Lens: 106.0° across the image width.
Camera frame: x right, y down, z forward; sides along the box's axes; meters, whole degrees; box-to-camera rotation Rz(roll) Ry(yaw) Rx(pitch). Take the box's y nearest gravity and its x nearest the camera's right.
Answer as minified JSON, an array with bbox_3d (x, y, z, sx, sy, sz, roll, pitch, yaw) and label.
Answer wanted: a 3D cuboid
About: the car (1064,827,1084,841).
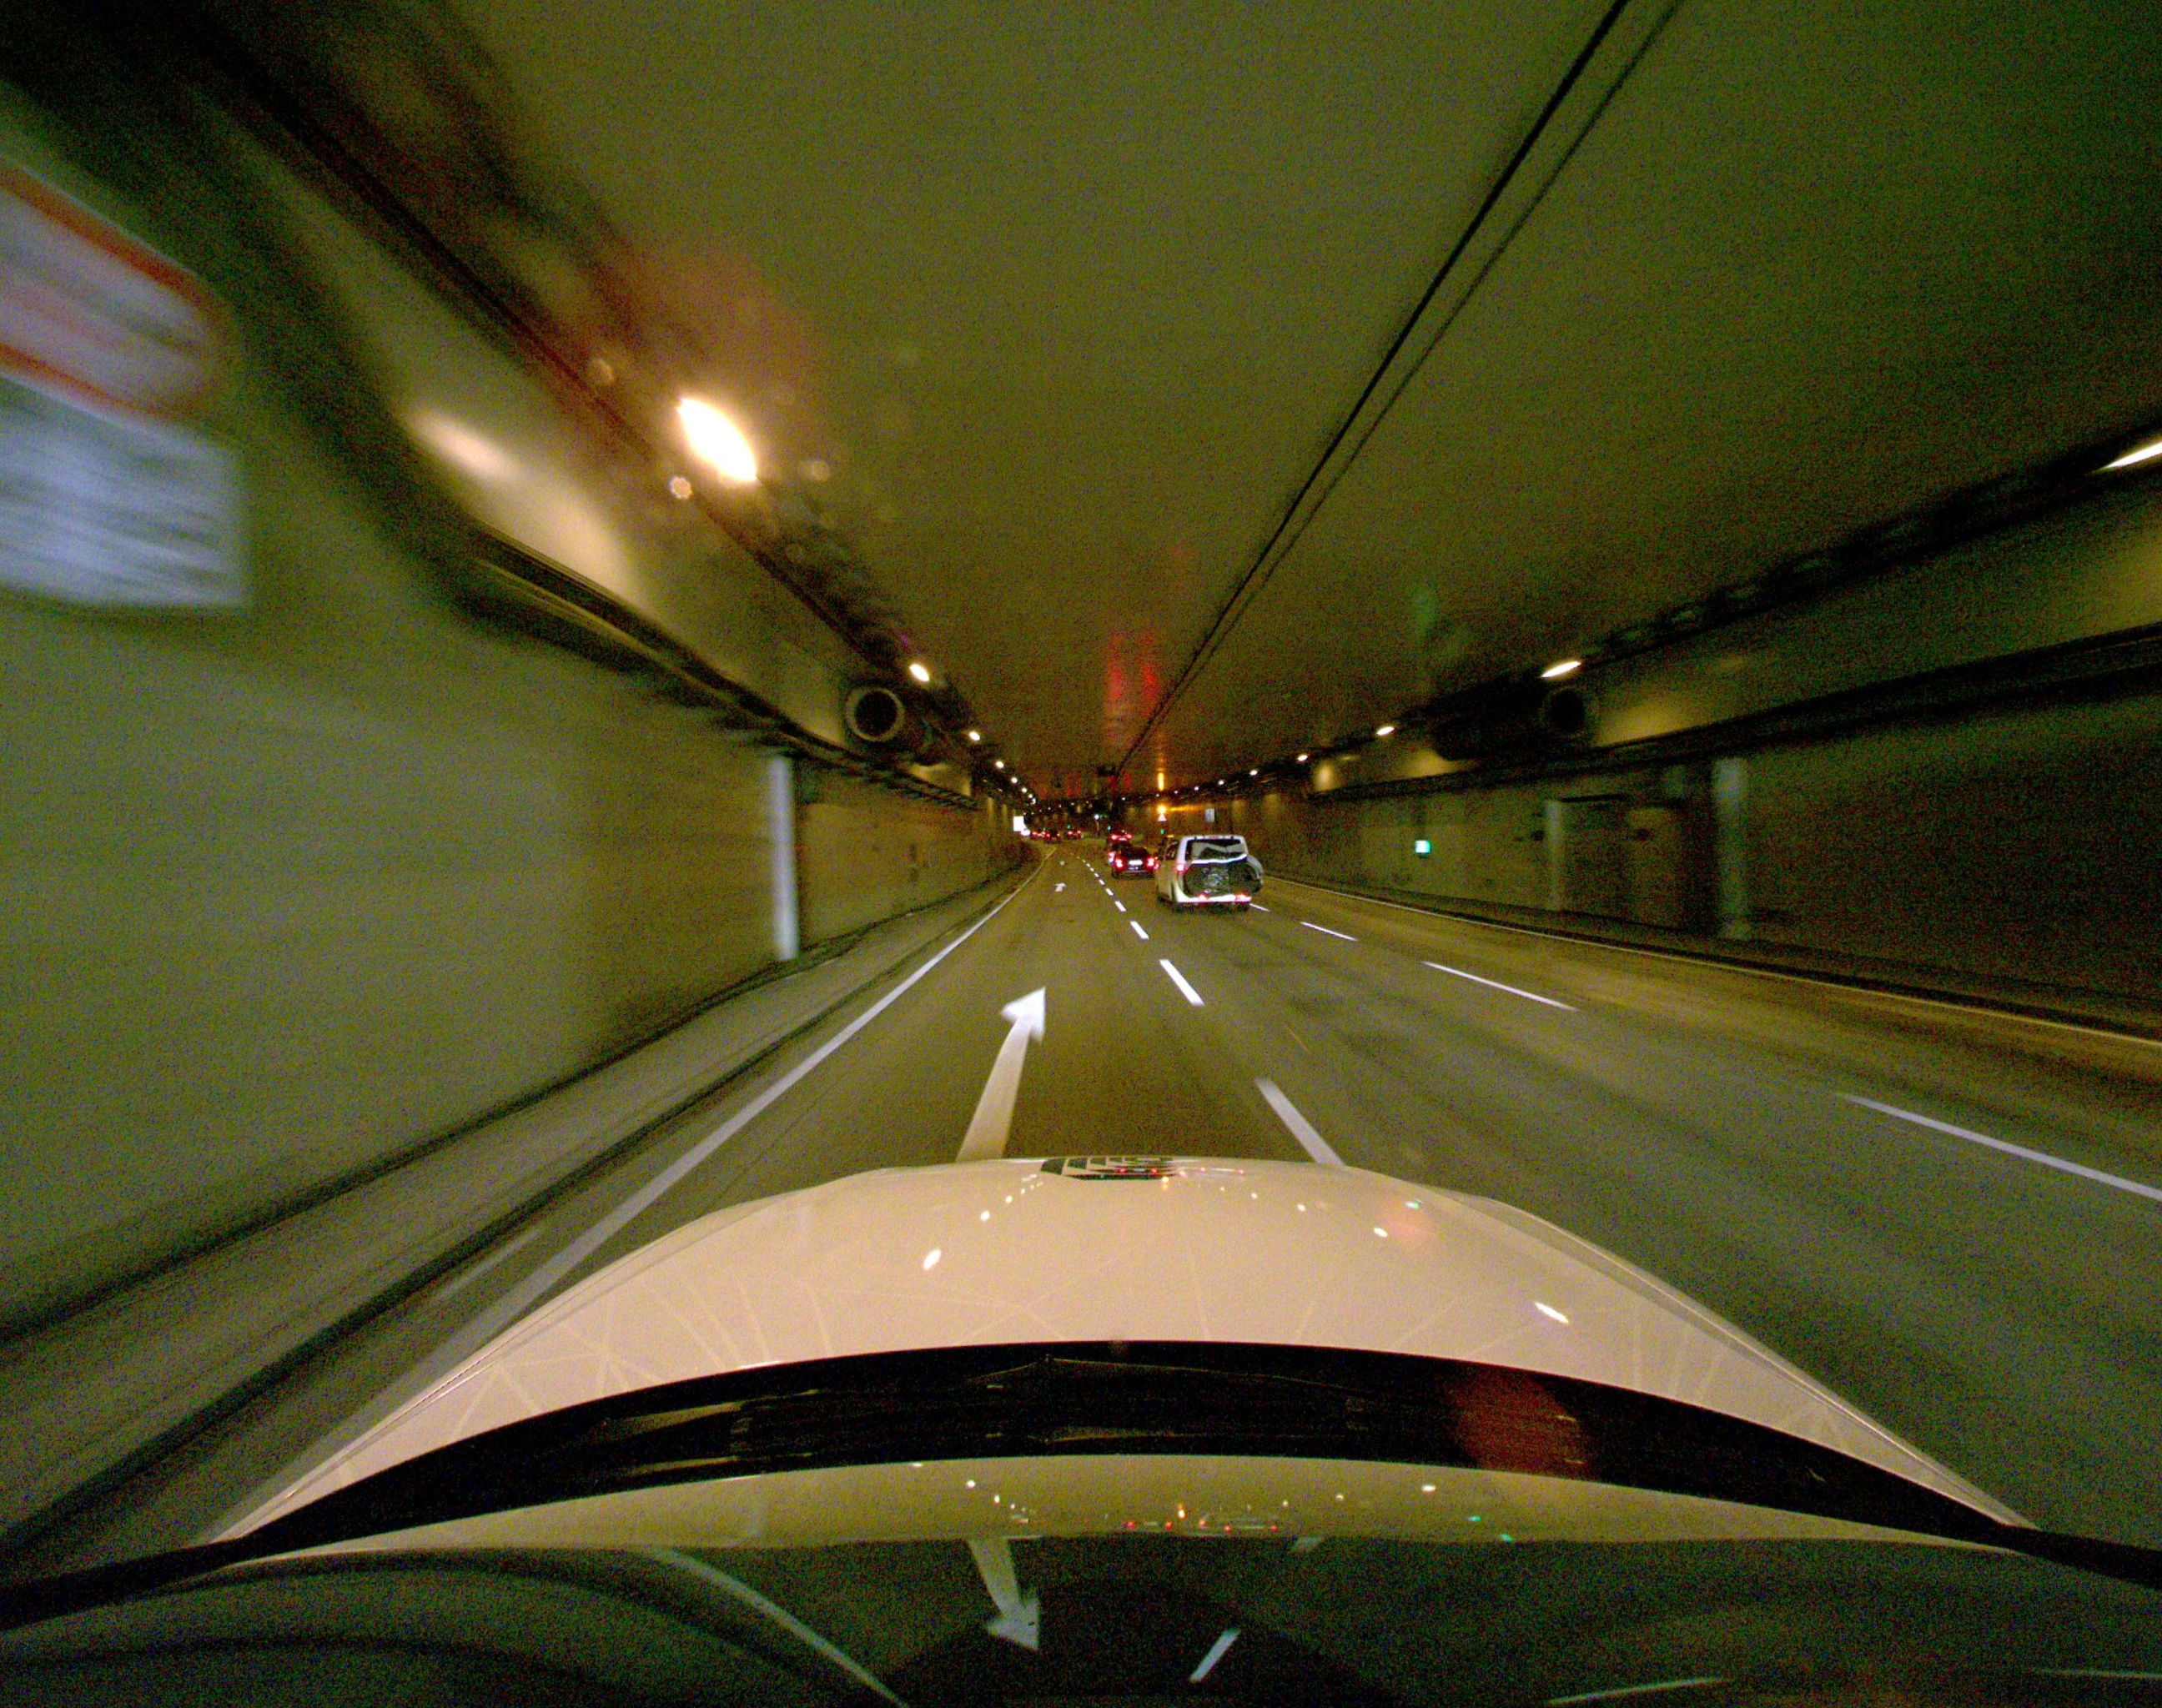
[{"bbox_3d":[-0.922,-2.552,103.784,1.823,1.630,3.829,-1,0,-11],"label":"car"}]

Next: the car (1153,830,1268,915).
[{"bbox_3d":[3.094,0.399,20.612,1.988,1.847,5.299,-1,0,-1],"label":"car"}]

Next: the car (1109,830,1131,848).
[{"bbox_3d":[3.675,-1.398,76.879,1.601,1.630,3.349,-1,0,-6],"label":"car"}]

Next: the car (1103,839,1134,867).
[{"bbox_3d":[2.223,-0.084,48.943,1.598,1.594,3.354,0,1,-1],"label":"car"}]

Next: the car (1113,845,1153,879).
[{"bbox_3d":[2.288,0.328,36.419,1.597,1.395,3.277,-1,1,0],"label":"car"}]

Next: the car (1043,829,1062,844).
[{"bbox_3d":[-3.344,-2.037,95.154,1.822,1.630,3.832,-1,0,-9],"label":"car"}]

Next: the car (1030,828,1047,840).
[{"bbox_3d":[-5.801,-2.724,111.874,1.823,1.630,3.829,-1,0,-11],"label":"car"}]

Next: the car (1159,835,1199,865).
[{"bbox_3d":[5.920,-0.246,49.747,1.867,1.761,3.998,-1,0,-1],"label":"car"}]

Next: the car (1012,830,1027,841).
[{"bbox_3d":[-10.163,-3.063,134.283,1.825,1.630,3.826,-1,0,-14],"label":"car"}]
